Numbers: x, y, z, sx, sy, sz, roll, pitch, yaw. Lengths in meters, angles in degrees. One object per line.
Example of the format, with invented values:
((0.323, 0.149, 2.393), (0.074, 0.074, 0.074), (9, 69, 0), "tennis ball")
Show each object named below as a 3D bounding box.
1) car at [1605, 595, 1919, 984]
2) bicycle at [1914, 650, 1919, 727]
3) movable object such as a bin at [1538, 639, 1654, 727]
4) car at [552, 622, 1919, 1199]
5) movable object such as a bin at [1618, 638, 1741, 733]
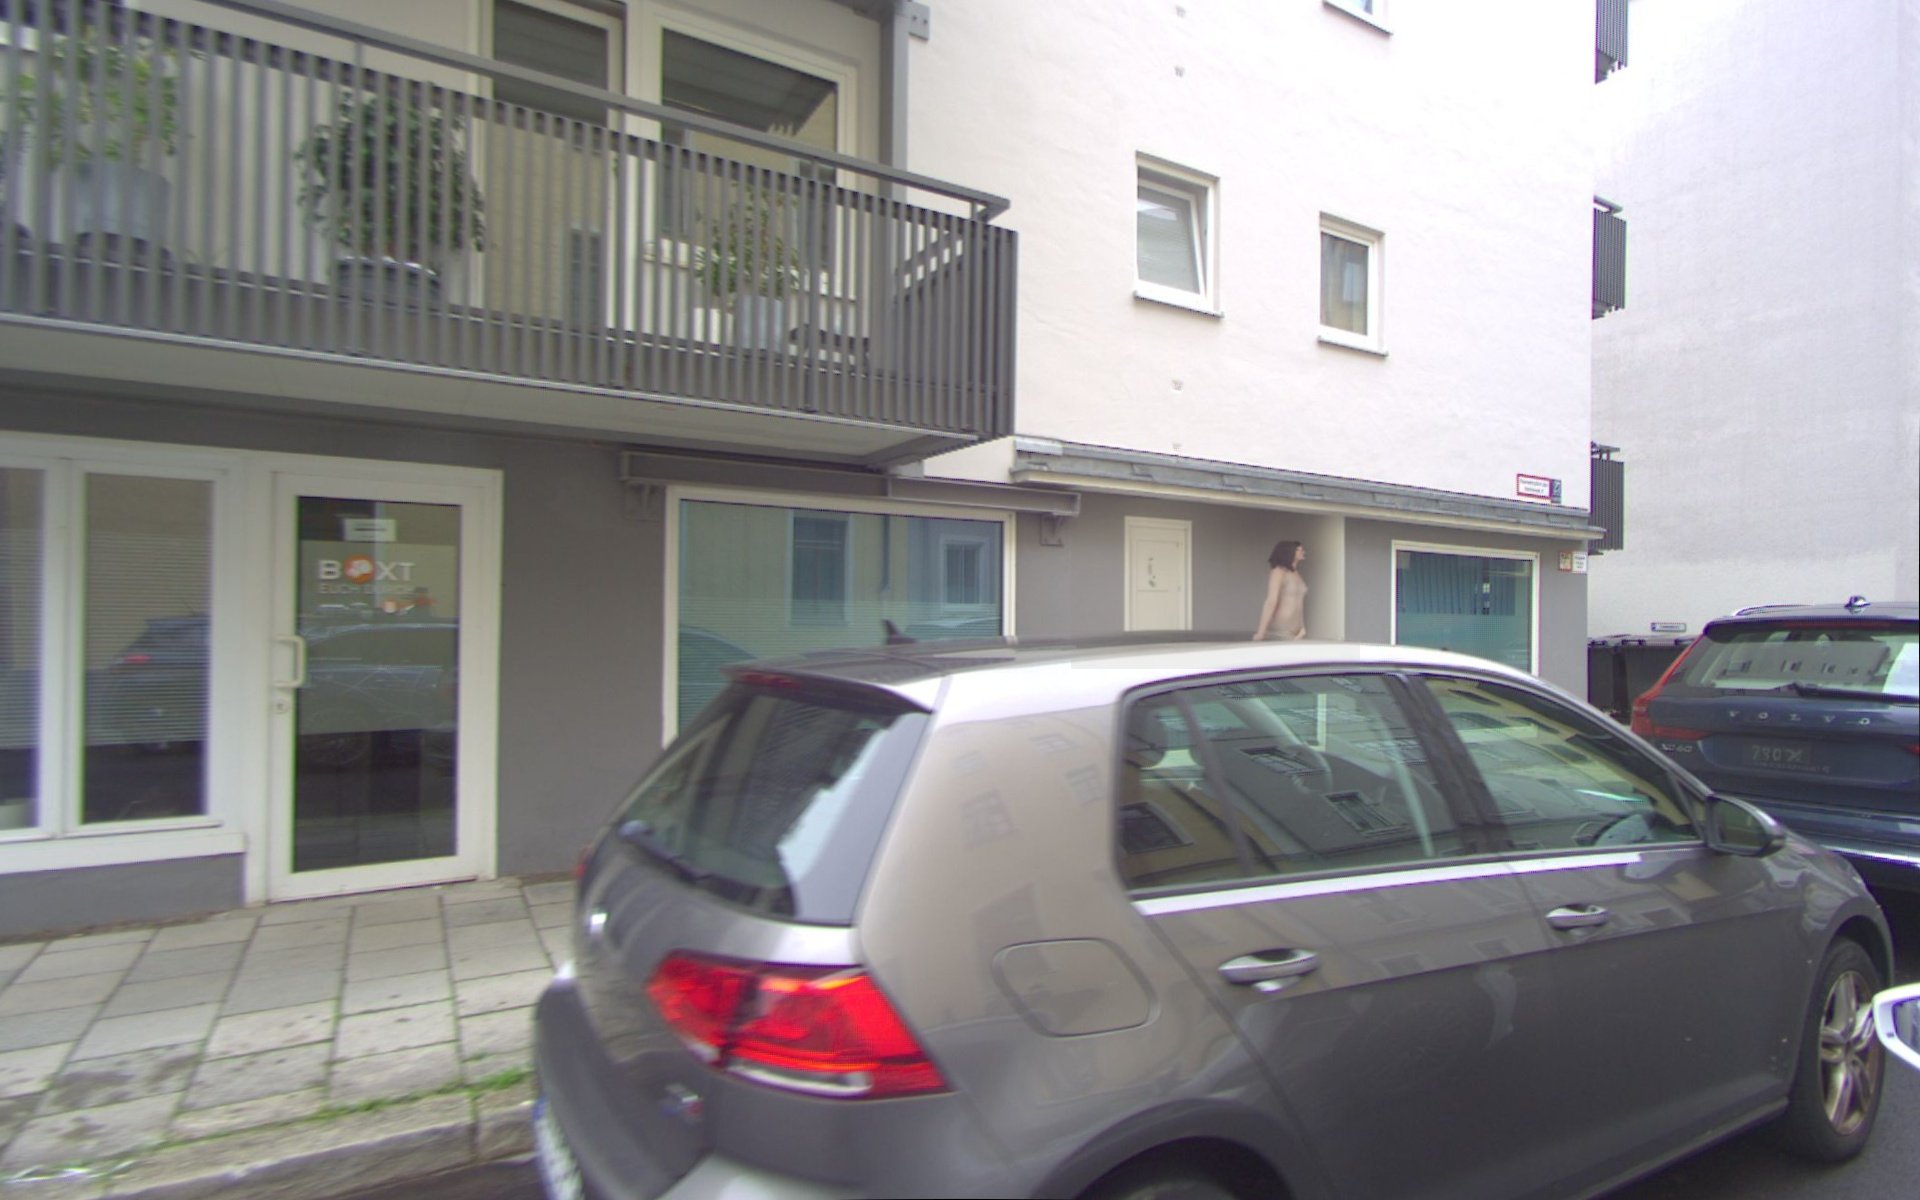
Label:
((5.762, 0.852, 5.715), (4.363, 1.650, 1.768), (1, -2, -31), "car")
((14.734, 1.256, 14.827), (2.108, 1.082, 0.394), (-1, 2, -31), "bicycle")
((10.305, 1.328, 16.305), (0.980, 1.354, 1.227), (1, -3, -27), "movable object such as a bin")
((1.067, 0.815, 2.877), (3.933, 1.461, 1.684), (1, -2, -32), "car")
((10.798, 1.262, 15.102), (0.980, 1.354, 1.154), (1, -3, -27), "movable object such as a bin")
